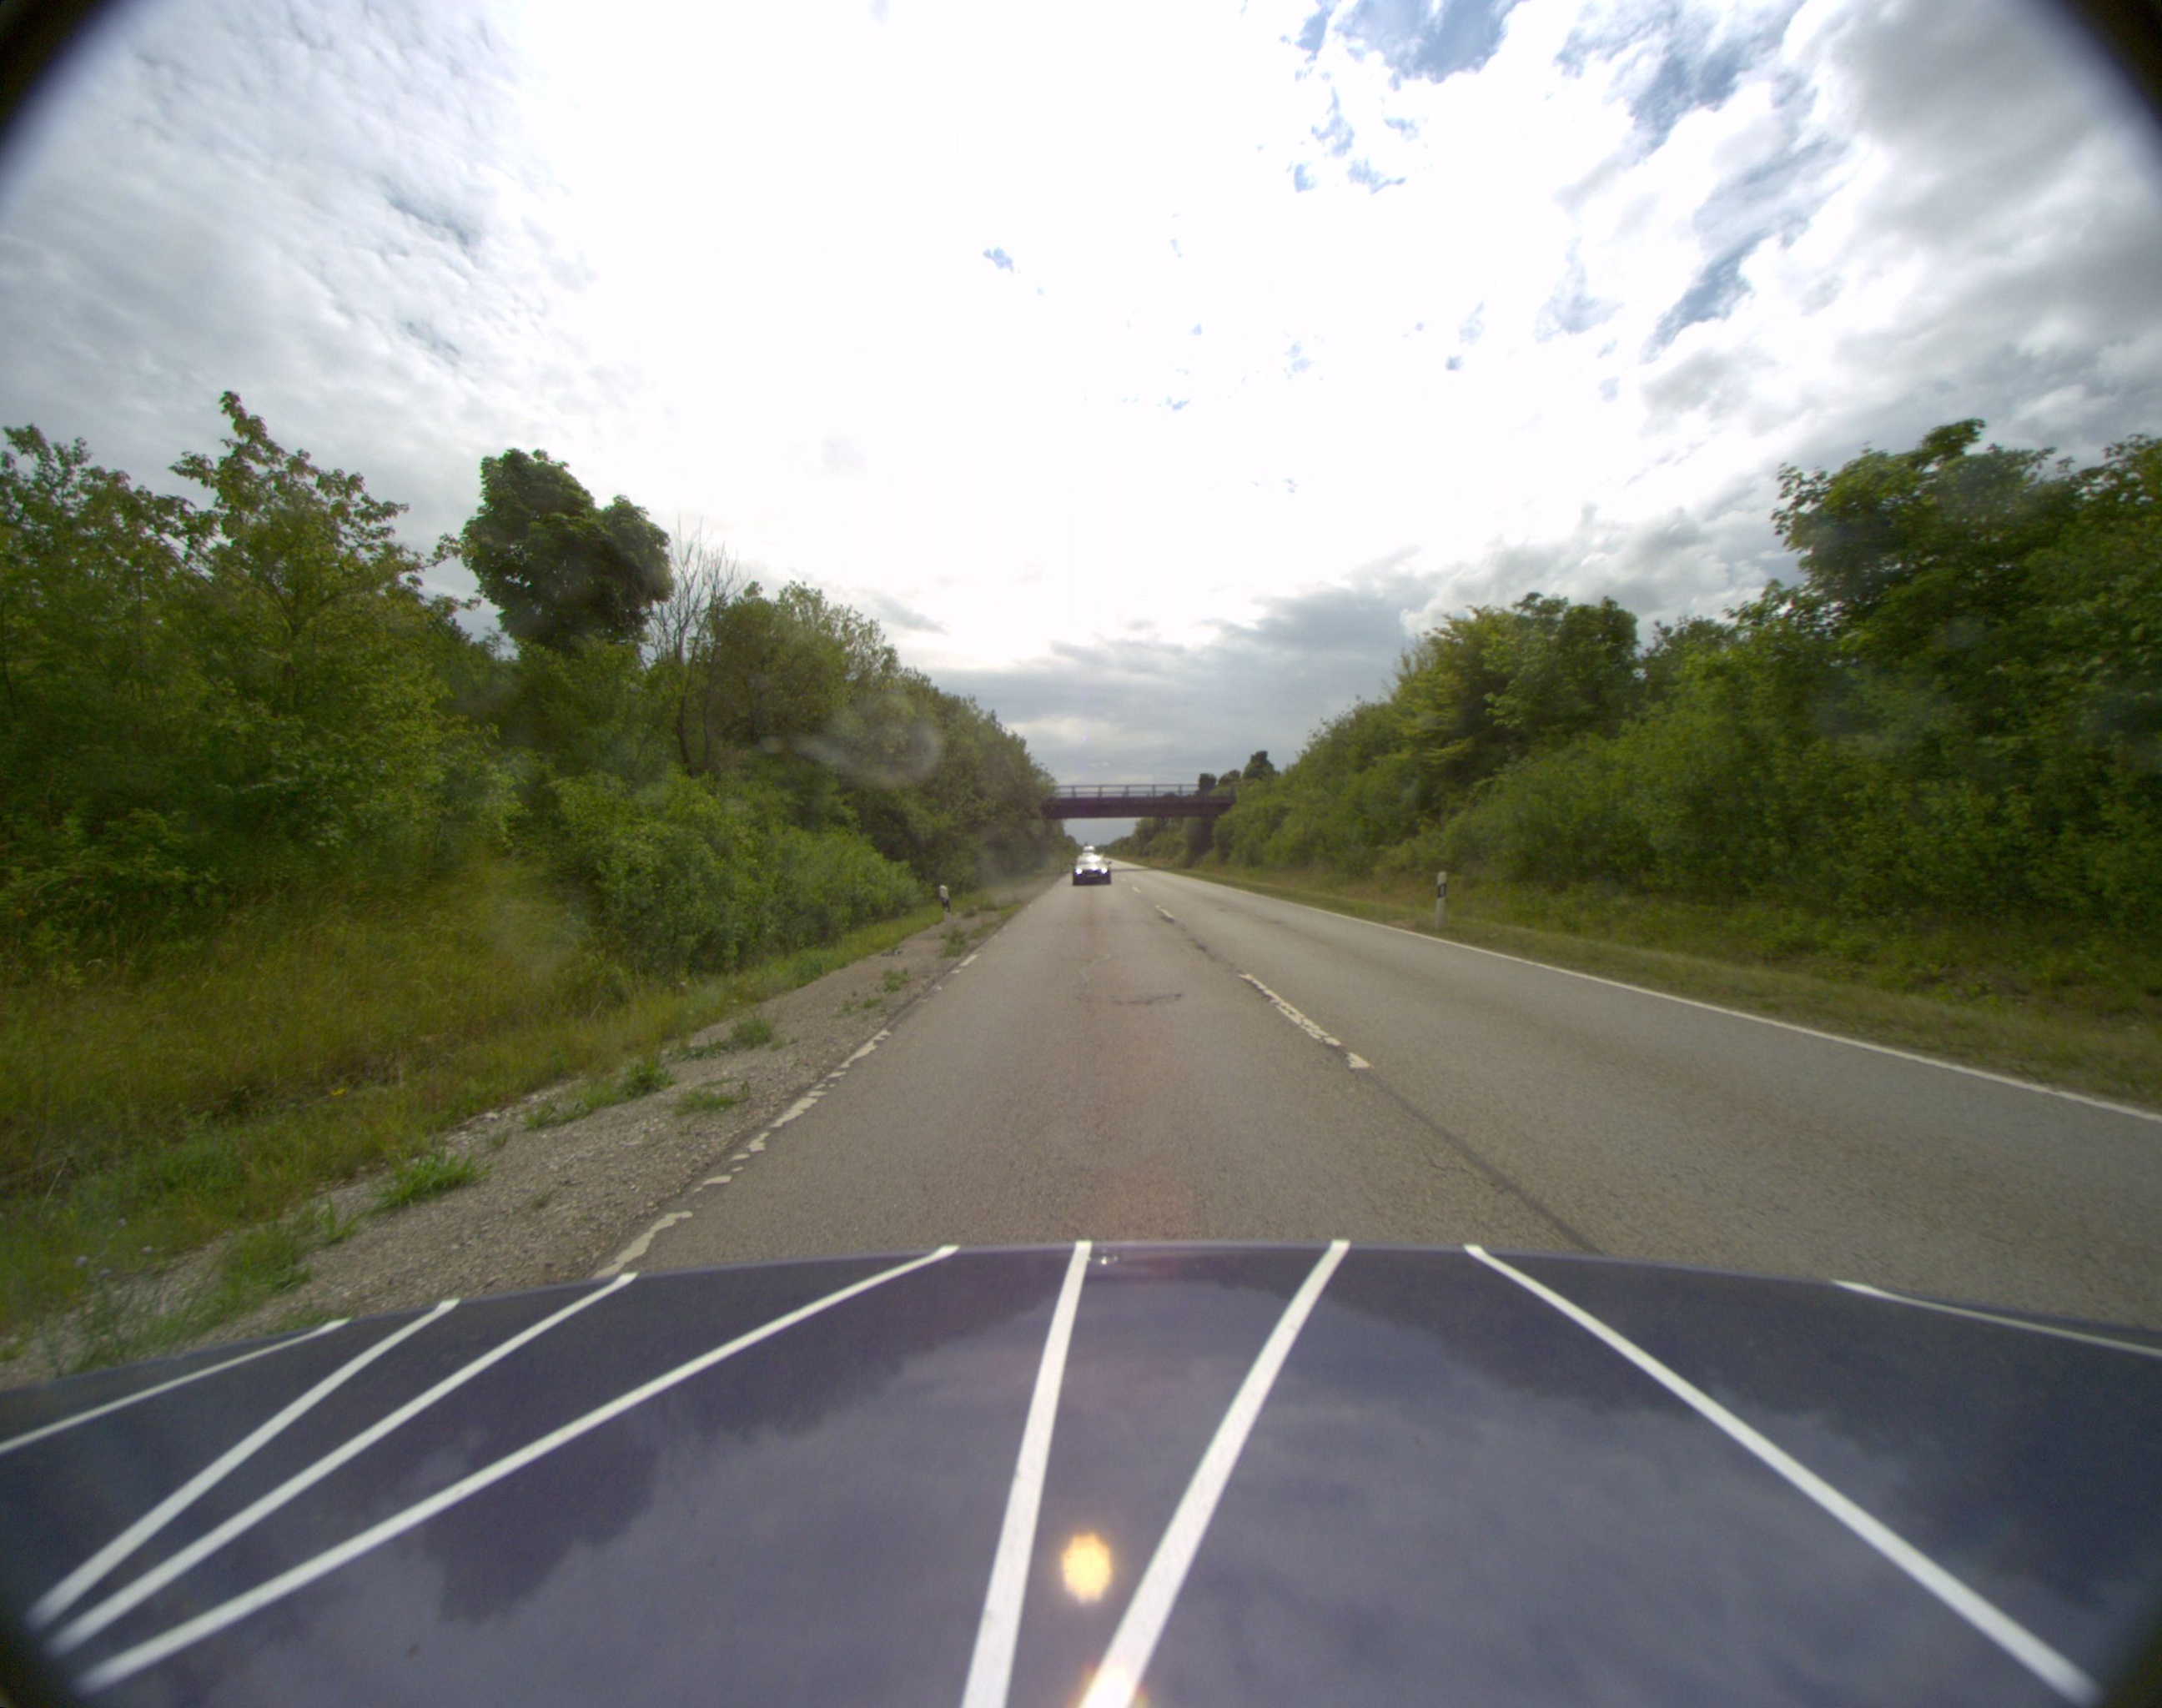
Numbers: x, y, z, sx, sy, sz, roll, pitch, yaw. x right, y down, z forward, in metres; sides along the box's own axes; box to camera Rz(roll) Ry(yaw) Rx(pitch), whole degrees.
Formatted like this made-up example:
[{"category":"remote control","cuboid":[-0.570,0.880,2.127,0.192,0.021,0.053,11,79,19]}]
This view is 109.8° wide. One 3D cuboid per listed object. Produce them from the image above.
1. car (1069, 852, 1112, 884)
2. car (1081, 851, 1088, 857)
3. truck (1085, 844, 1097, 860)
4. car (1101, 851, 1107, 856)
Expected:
[{"category":"car","cuboid":[0.463,0.673,38.393,1.998,1.436,4.640,-2,1,1]},{"category":"car","cuboid":[0.920,0.023,214.052,1.893,1.637,3.999,-2,0,-1]},{"category":"truck","cuboid":[1.681,-0.376,123.777,1.802,2.518,6.685,-2,1,1]},{"category":"car","cuboid":[7.408,-0.147,242.533,1.892,1.637,4.000,-2,0,0]}]
